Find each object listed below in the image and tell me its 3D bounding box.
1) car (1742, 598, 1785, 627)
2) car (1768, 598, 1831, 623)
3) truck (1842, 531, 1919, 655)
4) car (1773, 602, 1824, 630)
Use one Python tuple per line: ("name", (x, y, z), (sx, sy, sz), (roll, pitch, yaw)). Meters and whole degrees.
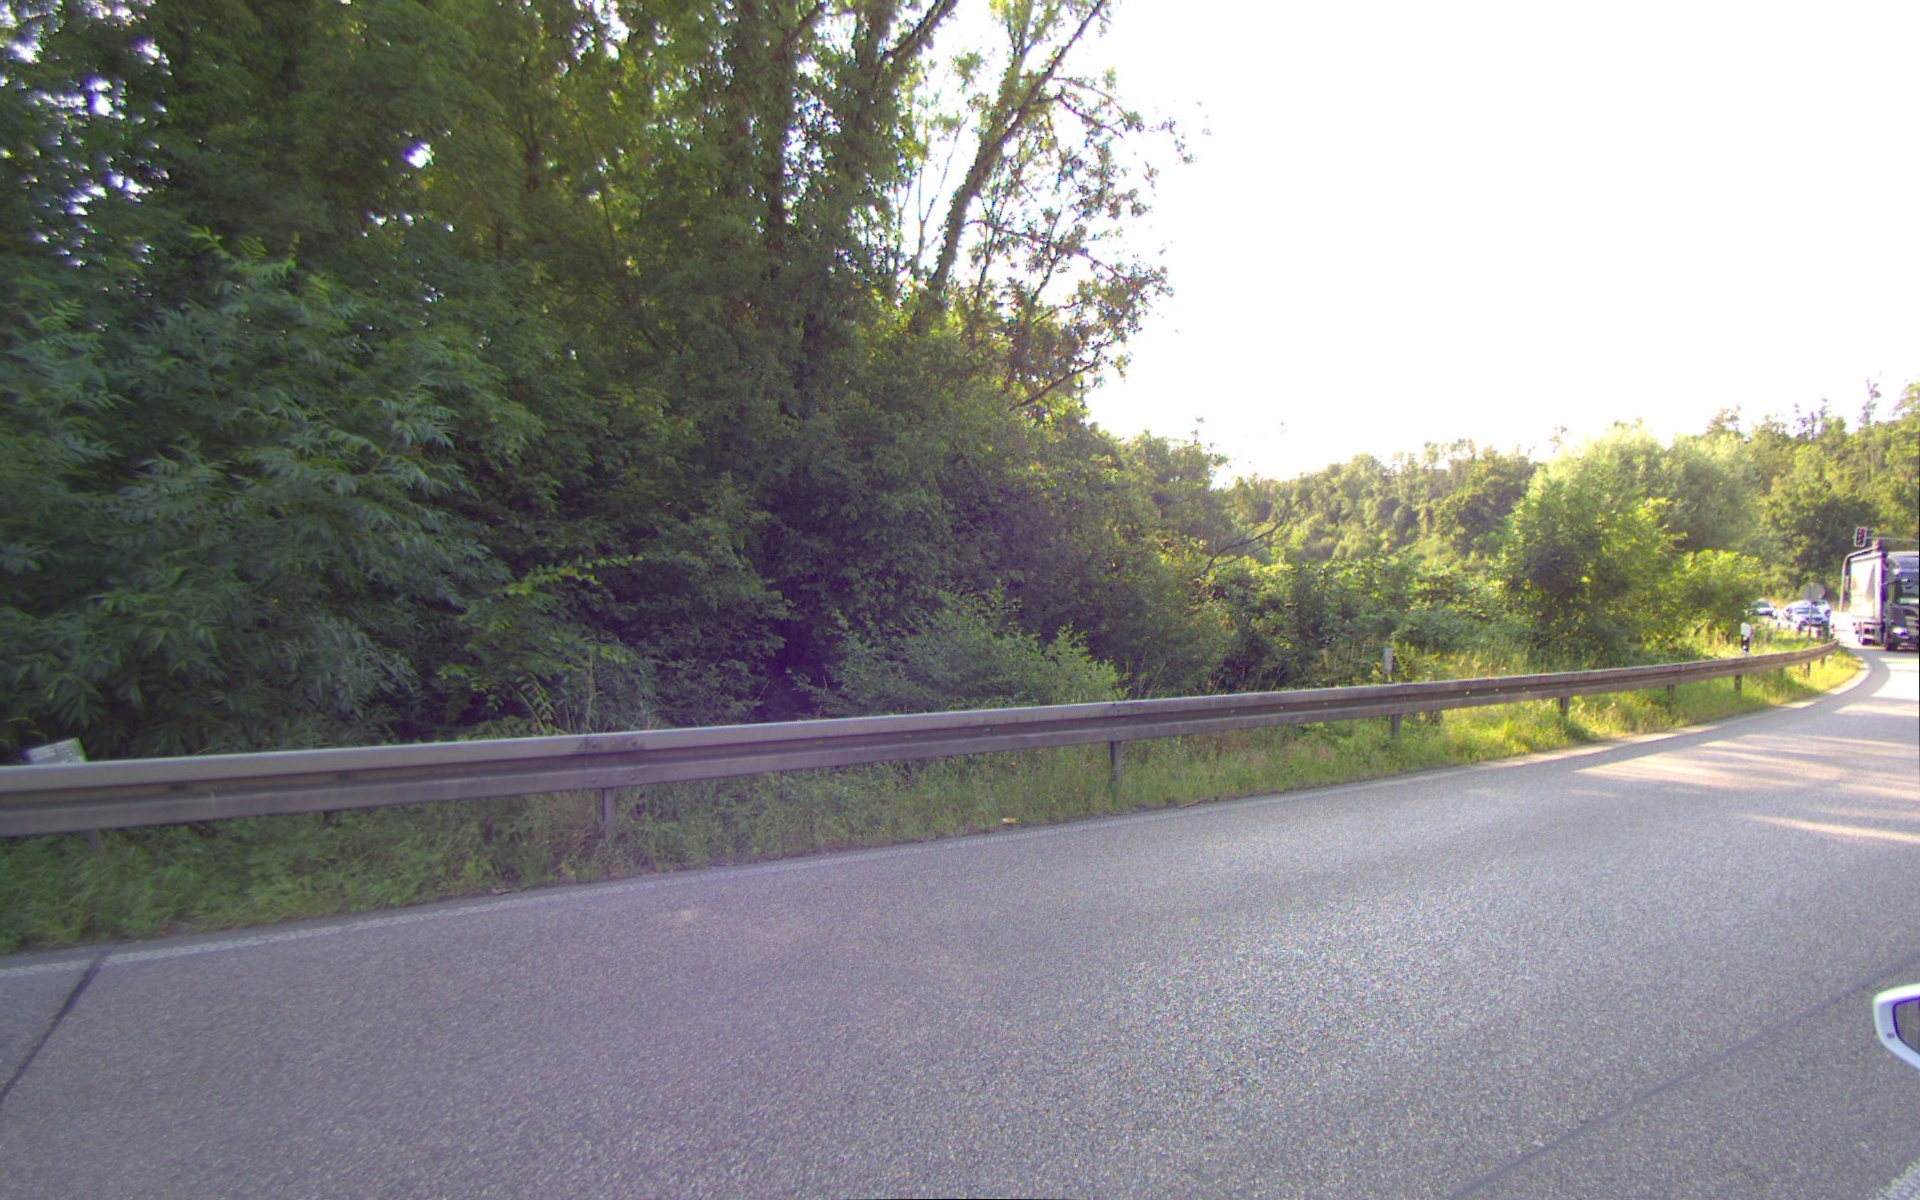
("car", (57.668, 0.867, 72.138), (1.841, 1.876, 3.991), (3, 2, 31))
("car", (69.267, 0.866, 82.872), (3.930, 1.876, 1.869), (2, 2, -12))
("truck", (39.346, -0.175, 41.537), (2.971, 4.646, 10.209), (2, 0, 34))
("car", (52.116, 0.978, 62.503), (1.841, 1.577, 3.990), (3, 2, 32))
